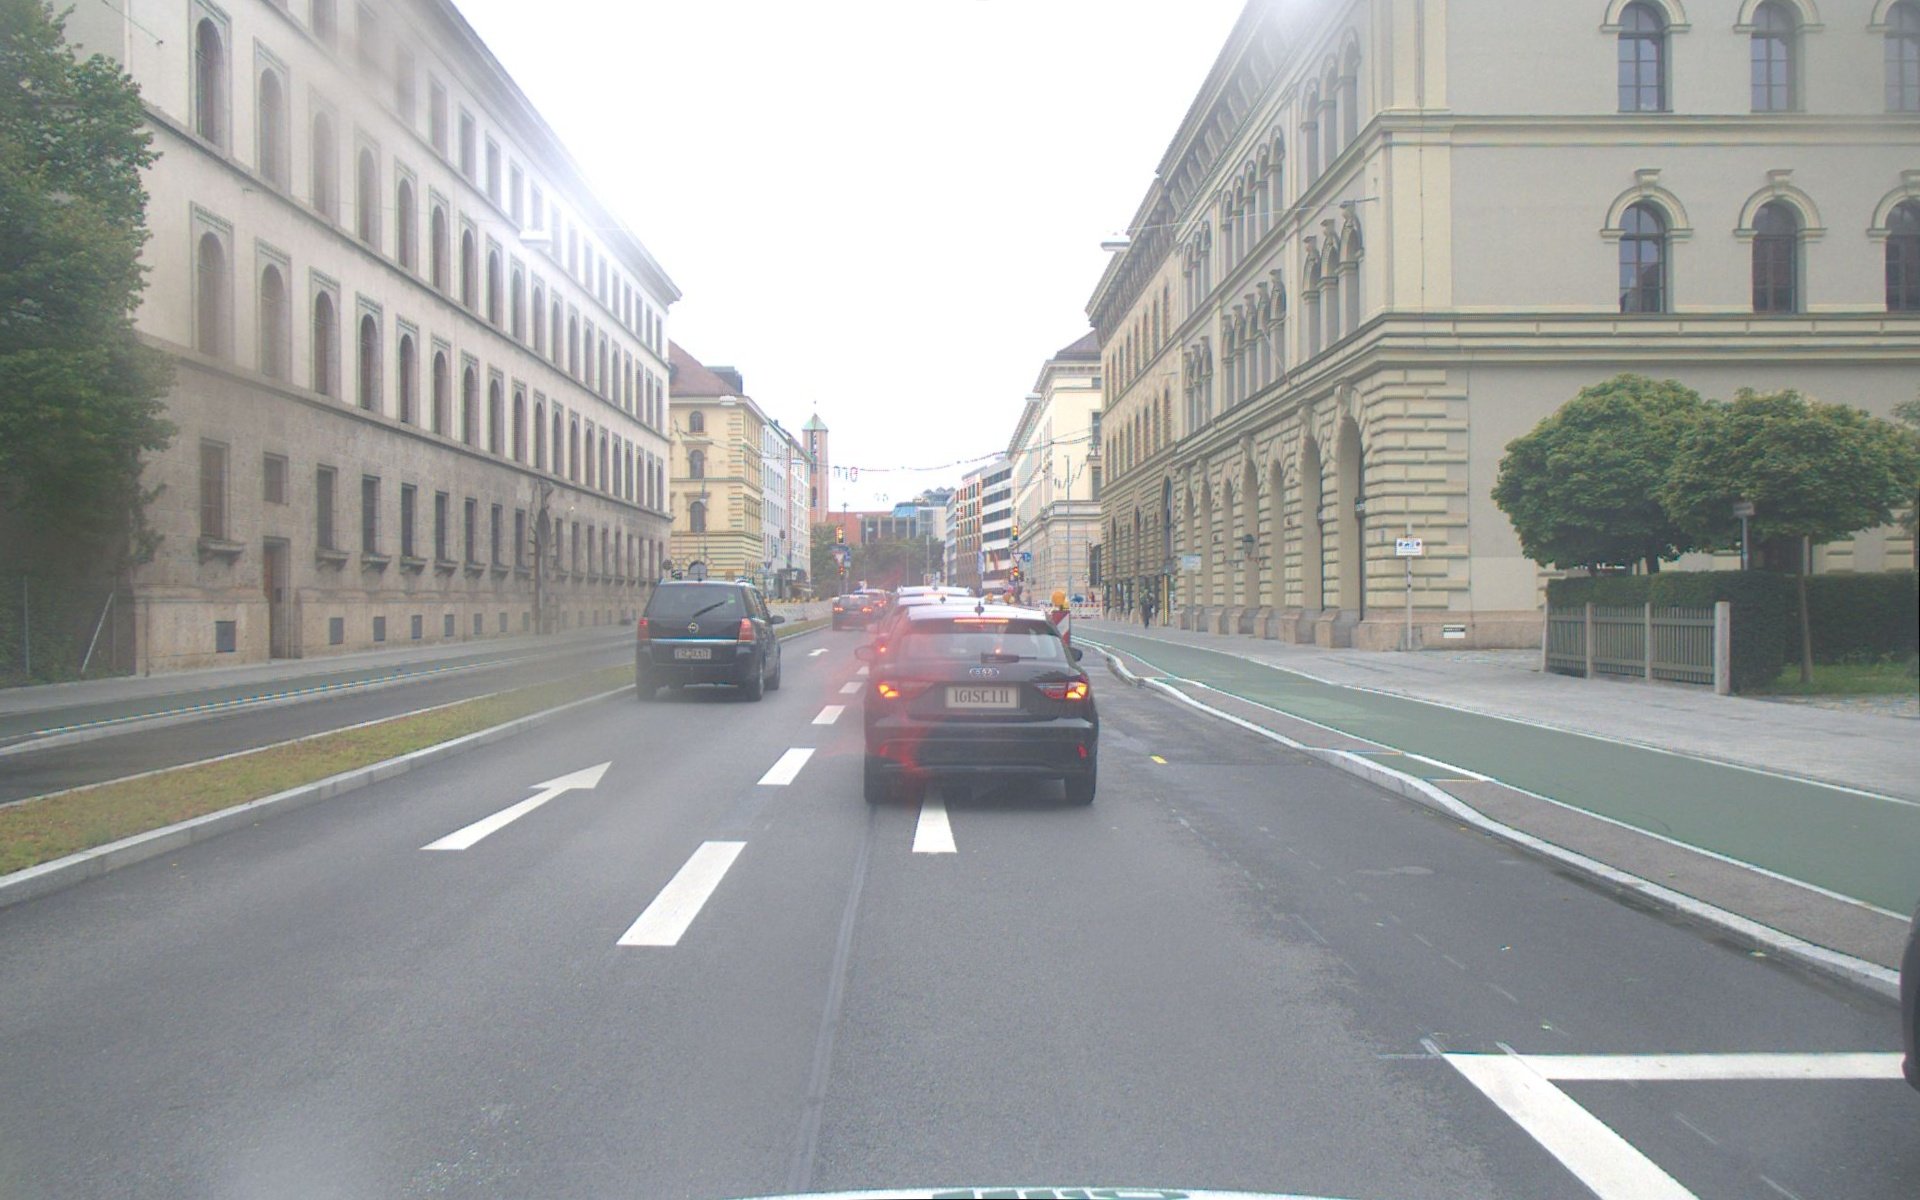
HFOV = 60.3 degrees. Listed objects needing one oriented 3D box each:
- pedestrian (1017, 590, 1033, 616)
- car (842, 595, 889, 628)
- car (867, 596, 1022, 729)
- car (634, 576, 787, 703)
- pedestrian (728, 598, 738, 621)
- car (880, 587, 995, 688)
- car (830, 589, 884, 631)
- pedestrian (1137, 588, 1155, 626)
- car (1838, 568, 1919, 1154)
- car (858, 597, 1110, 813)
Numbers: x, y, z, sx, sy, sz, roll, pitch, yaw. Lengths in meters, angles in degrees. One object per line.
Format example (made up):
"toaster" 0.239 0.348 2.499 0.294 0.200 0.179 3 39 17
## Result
"pedestrian" 4.112 0.176 104.650 0.702 1.646 0.746 0 0 -31
"car" -4.326 0.518 76.001 1.953 1.469 3.999 0 0 -1
"car" -0.205 0.691 20.317 1.695 1.427 3.999 1 0 -1
"car" -3.488 0.514 23.730 1.729 1.644 4.028 1 0 -3
"pedestrian" -17.925 0.752 130.621 0.642 1.836 0.727 0 0 -2
"car" -0.373 0.551 26.747 1.695 1.486 3.999 1 0 -1
"car" -4.156 0.381 67.256 1.953 1.656 3.999 0 0 -1
"pedestrian" 8.204 0.311 72.948 0.695 1.646 0.754 0 0 -2
"car" 3.358 0.706 2.859 1.641 1.547 3.829 1 0 0
"car" 0.129 0.712 13.261 1.695 1.427 3.999 1 0 -1
